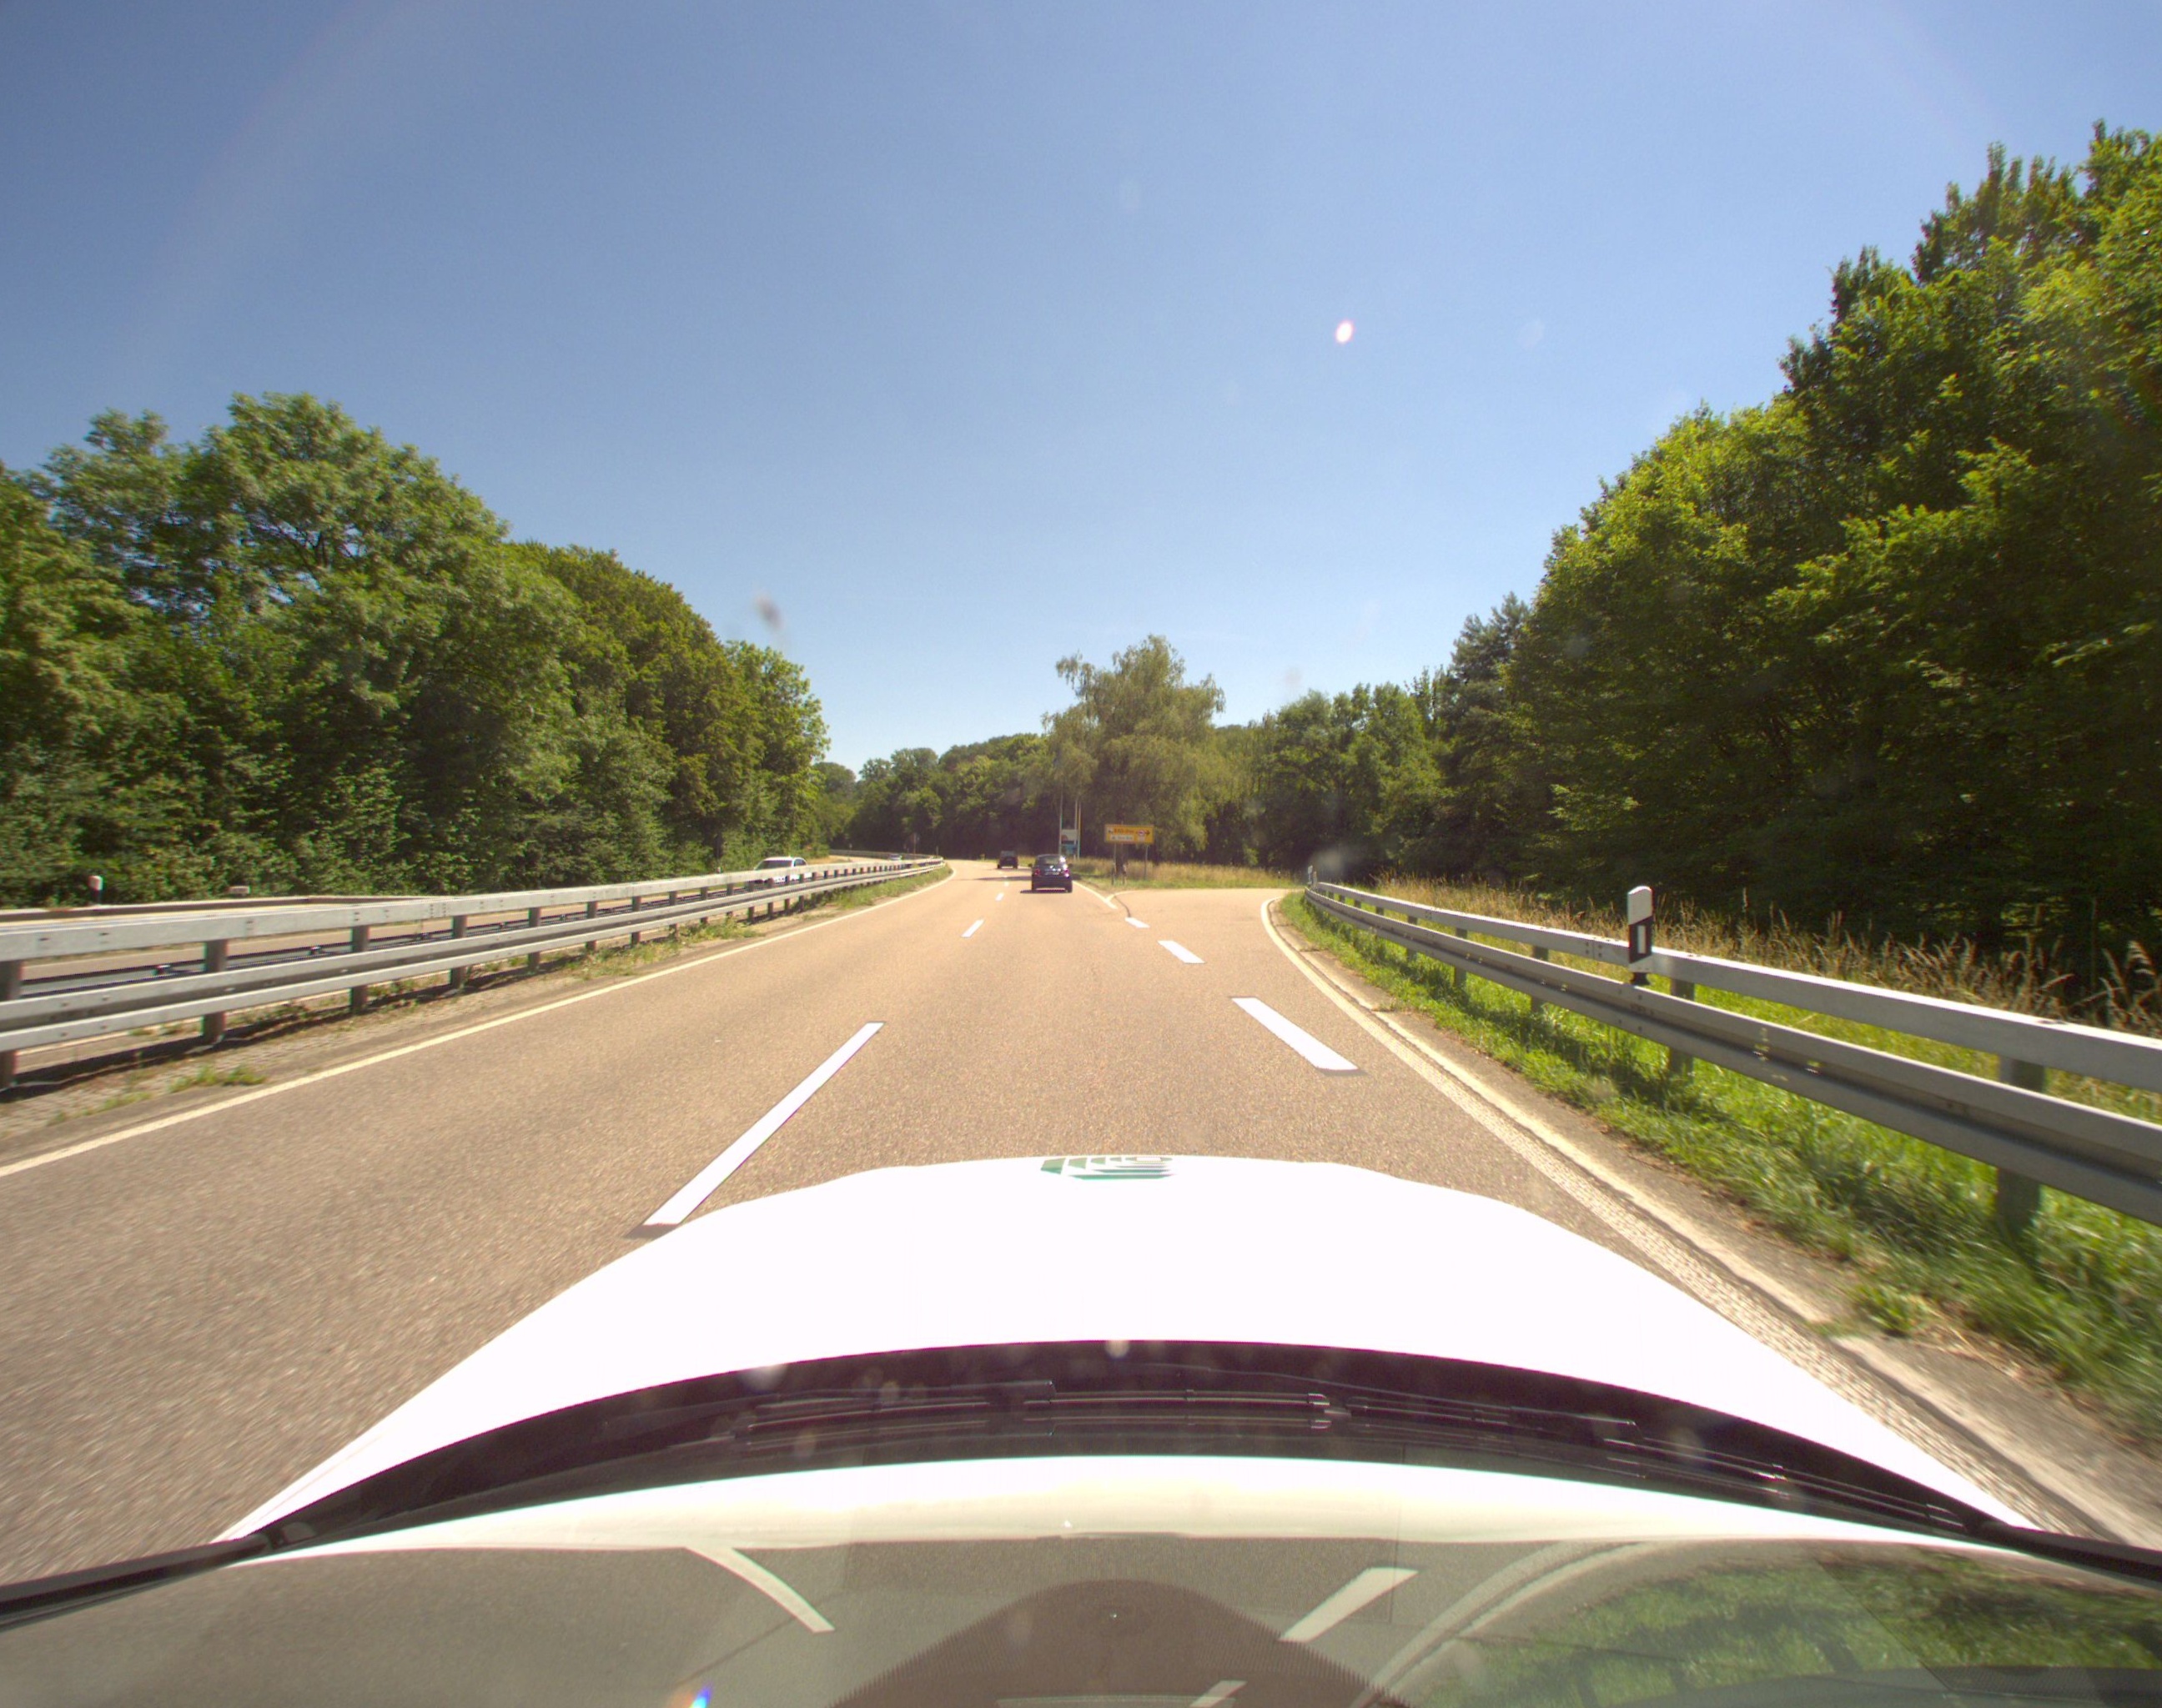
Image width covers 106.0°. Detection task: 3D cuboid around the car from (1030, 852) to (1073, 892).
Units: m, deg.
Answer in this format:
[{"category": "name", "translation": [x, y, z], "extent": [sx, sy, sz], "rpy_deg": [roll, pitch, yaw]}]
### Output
[{"category": "car", "translation": [-1.132, 0.690, 32.915], "extent": [1.508, 1.501, 3.591], "rpy_deg": [-1, 0, 1]}]

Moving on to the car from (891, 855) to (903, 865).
[{"category": "car", "translation": [-27.268, 0.843, 120.642], "extent": [1.443, 1.381, 3.827], "rpy_deg": [-1, 0, -16]}]

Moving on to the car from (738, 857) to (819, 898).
[{"category": "car", "translation": [-12.375, 0.909, 33.584], "extent": [1.751, 1.573, 4.411], "rpy_deg": [-1, 0, -2]}]

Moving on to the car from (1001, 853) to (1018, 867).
[{"category": "car", "translation": [-6.947, 0.568, 78.712], "extent": [1.523, 1.313, 3.408], "rpy_deg": [-1, 0, -6]}]
